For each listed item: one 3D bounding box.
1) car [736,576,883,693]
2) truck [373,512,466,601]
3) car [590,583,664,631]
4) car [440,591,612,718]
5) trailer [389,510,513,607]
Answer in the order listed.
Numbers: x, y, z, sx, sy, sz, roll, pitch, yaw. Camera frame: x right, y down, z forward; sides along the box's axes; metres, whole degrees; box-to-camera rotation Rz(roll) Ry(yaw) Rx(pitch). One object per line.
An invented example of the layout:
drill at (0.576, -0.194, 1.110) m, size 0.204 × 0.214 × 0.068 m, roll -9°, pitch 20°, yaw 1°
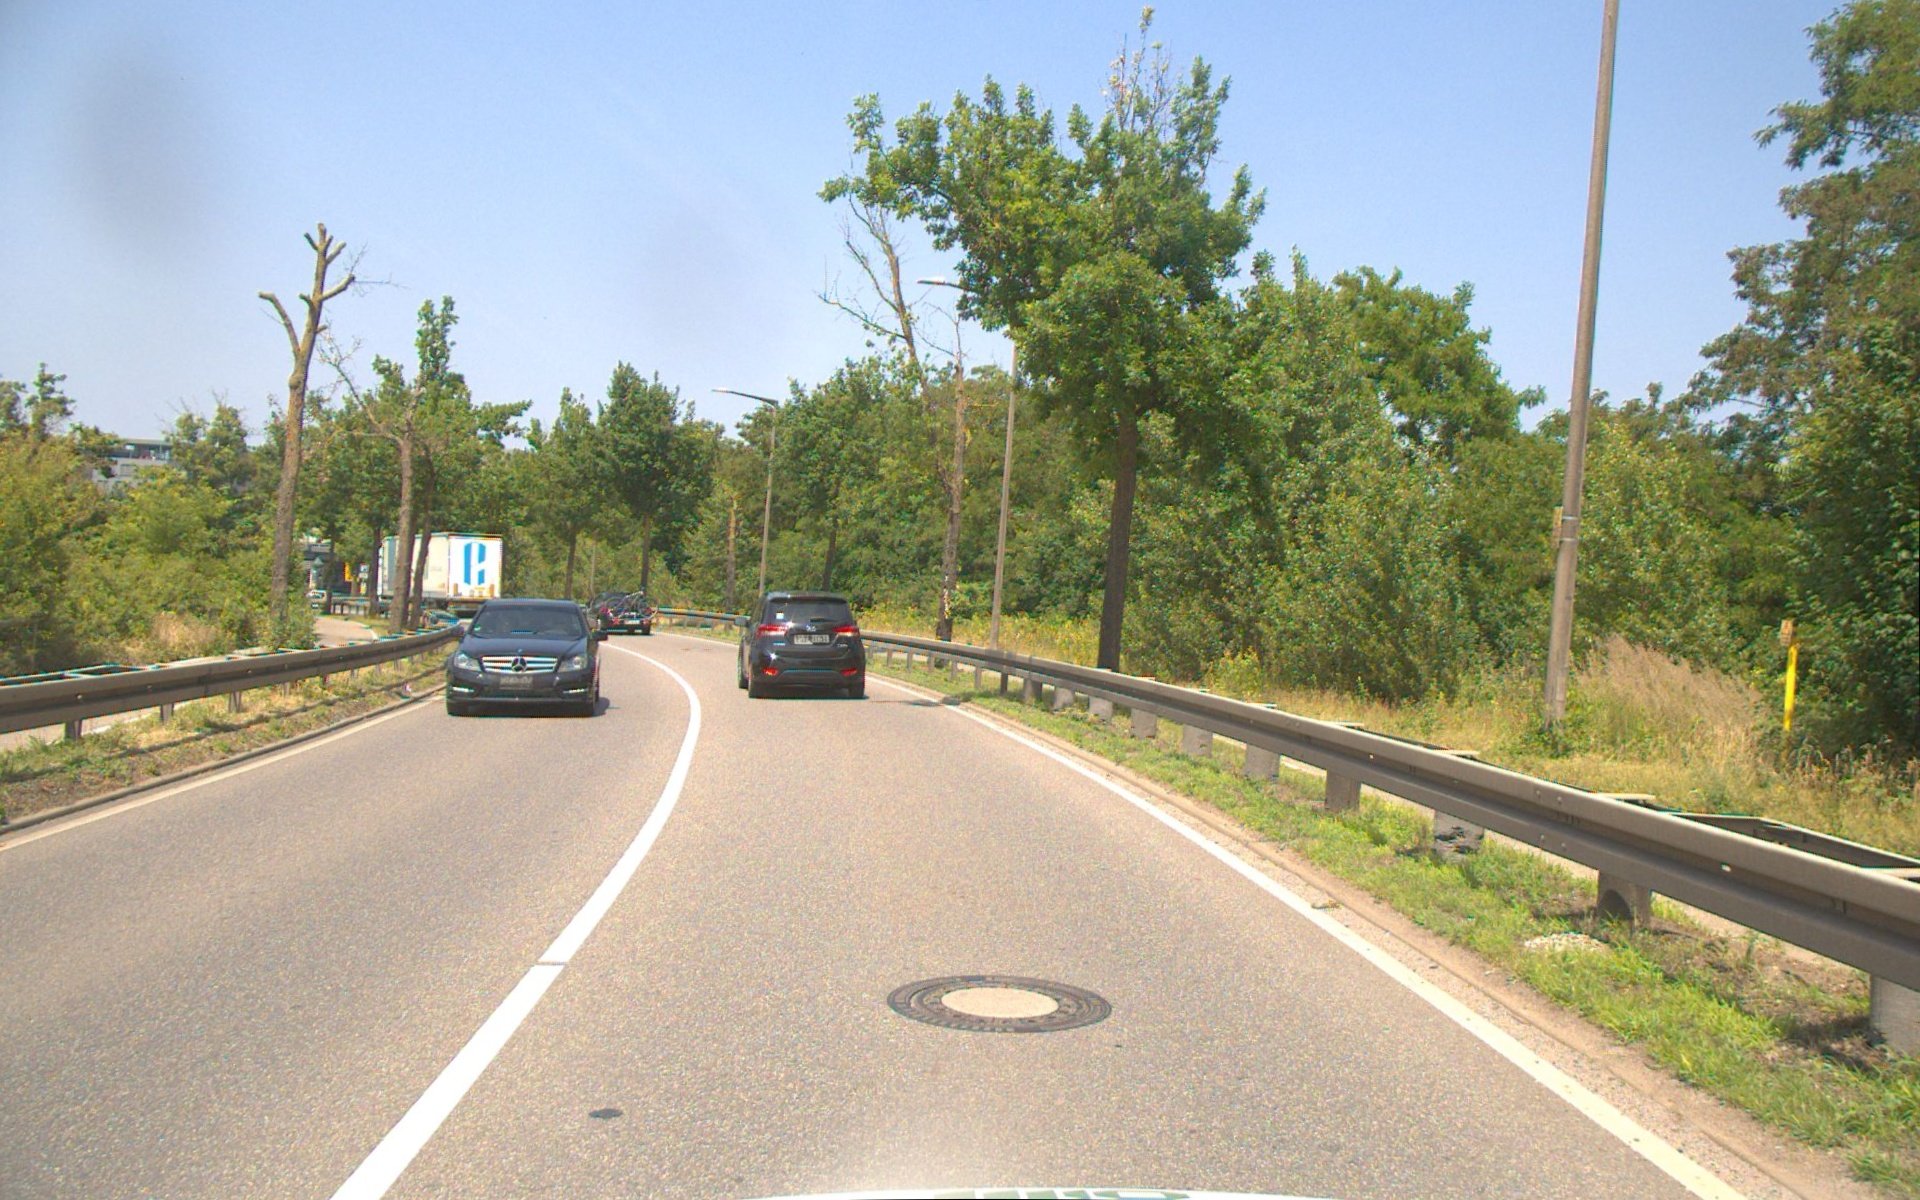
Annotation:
car at (-2.440, 0.485, 25.972) m, size 1.887 × 1.601 × 3.882 m, roll 2°, pitch 1°, yaw -11°
truck at (-29.230, -2.384, 89.275) m, size 3.533 × 4.518 × 6.454 m, roll 1°, pitch 1°, yaw -29°
car at (-11.302, 0.213, 56.010) m, size 1.980 × 1.454 × 3.758 m, roll 2°, pitch 1°, yaw -18°
car at (-5.501, 0.629, 21.387) m, size 1.644 × 1.468 × 4.122 m, roll 1°, pitch 0°, yaw -8°
trailer at (-25.682, -2.136, 83.006) m, size 3.531 × 4.460 × 11.330 m, roll 1°, pitch 1°, yaw -29°
